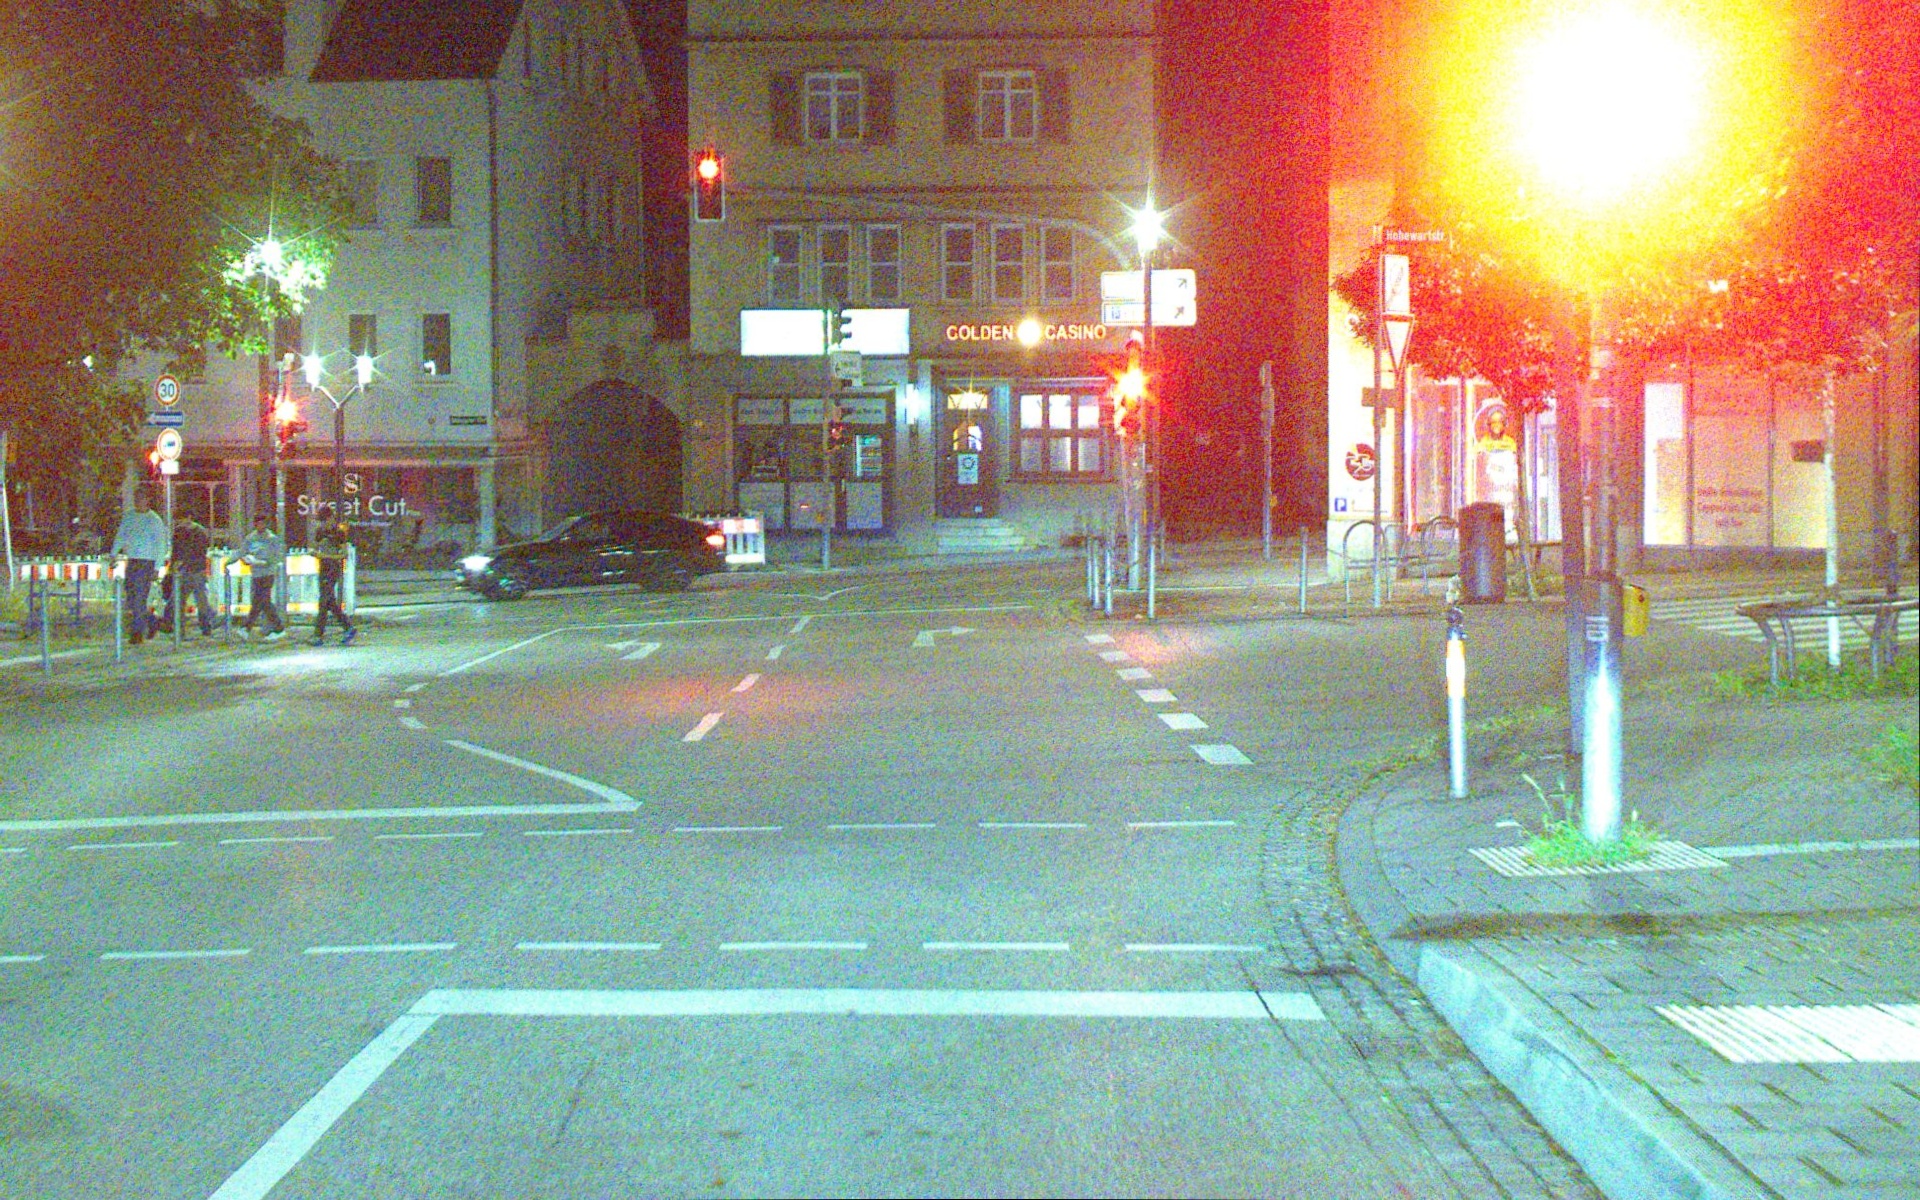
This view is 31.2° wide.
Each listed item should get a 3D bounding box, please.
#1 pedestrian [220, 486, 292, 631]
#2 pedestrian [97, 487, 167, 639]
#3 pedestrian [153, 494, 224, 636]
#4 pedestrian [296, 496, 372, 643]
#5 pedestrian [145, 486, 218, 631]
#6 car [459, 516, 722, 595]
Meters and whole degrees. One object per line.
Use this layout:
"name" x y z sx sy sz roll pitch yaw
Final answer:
"pedestrian" -8.795 -0.518 42.939 0.716 1.789 0.569 1 0 7
"pedestrian" -9.830 -0.437 40.829 0.716 1.789 0.569 1 0 -6
"pedestrian" -9.884 -0.447 44.027 0.716 1.789 0.569 1 0 7
"pedestrian" -7.753 -0.373 42.542 0.734 1.789 0.718 1 0 -26
"pedestrian" -9.681 -0.515 42.782 0.716 1.789 0.569 1 0 7
"car" -6.556 -0.774 60.868 4.416 1.293 1.642 1 0 -15
